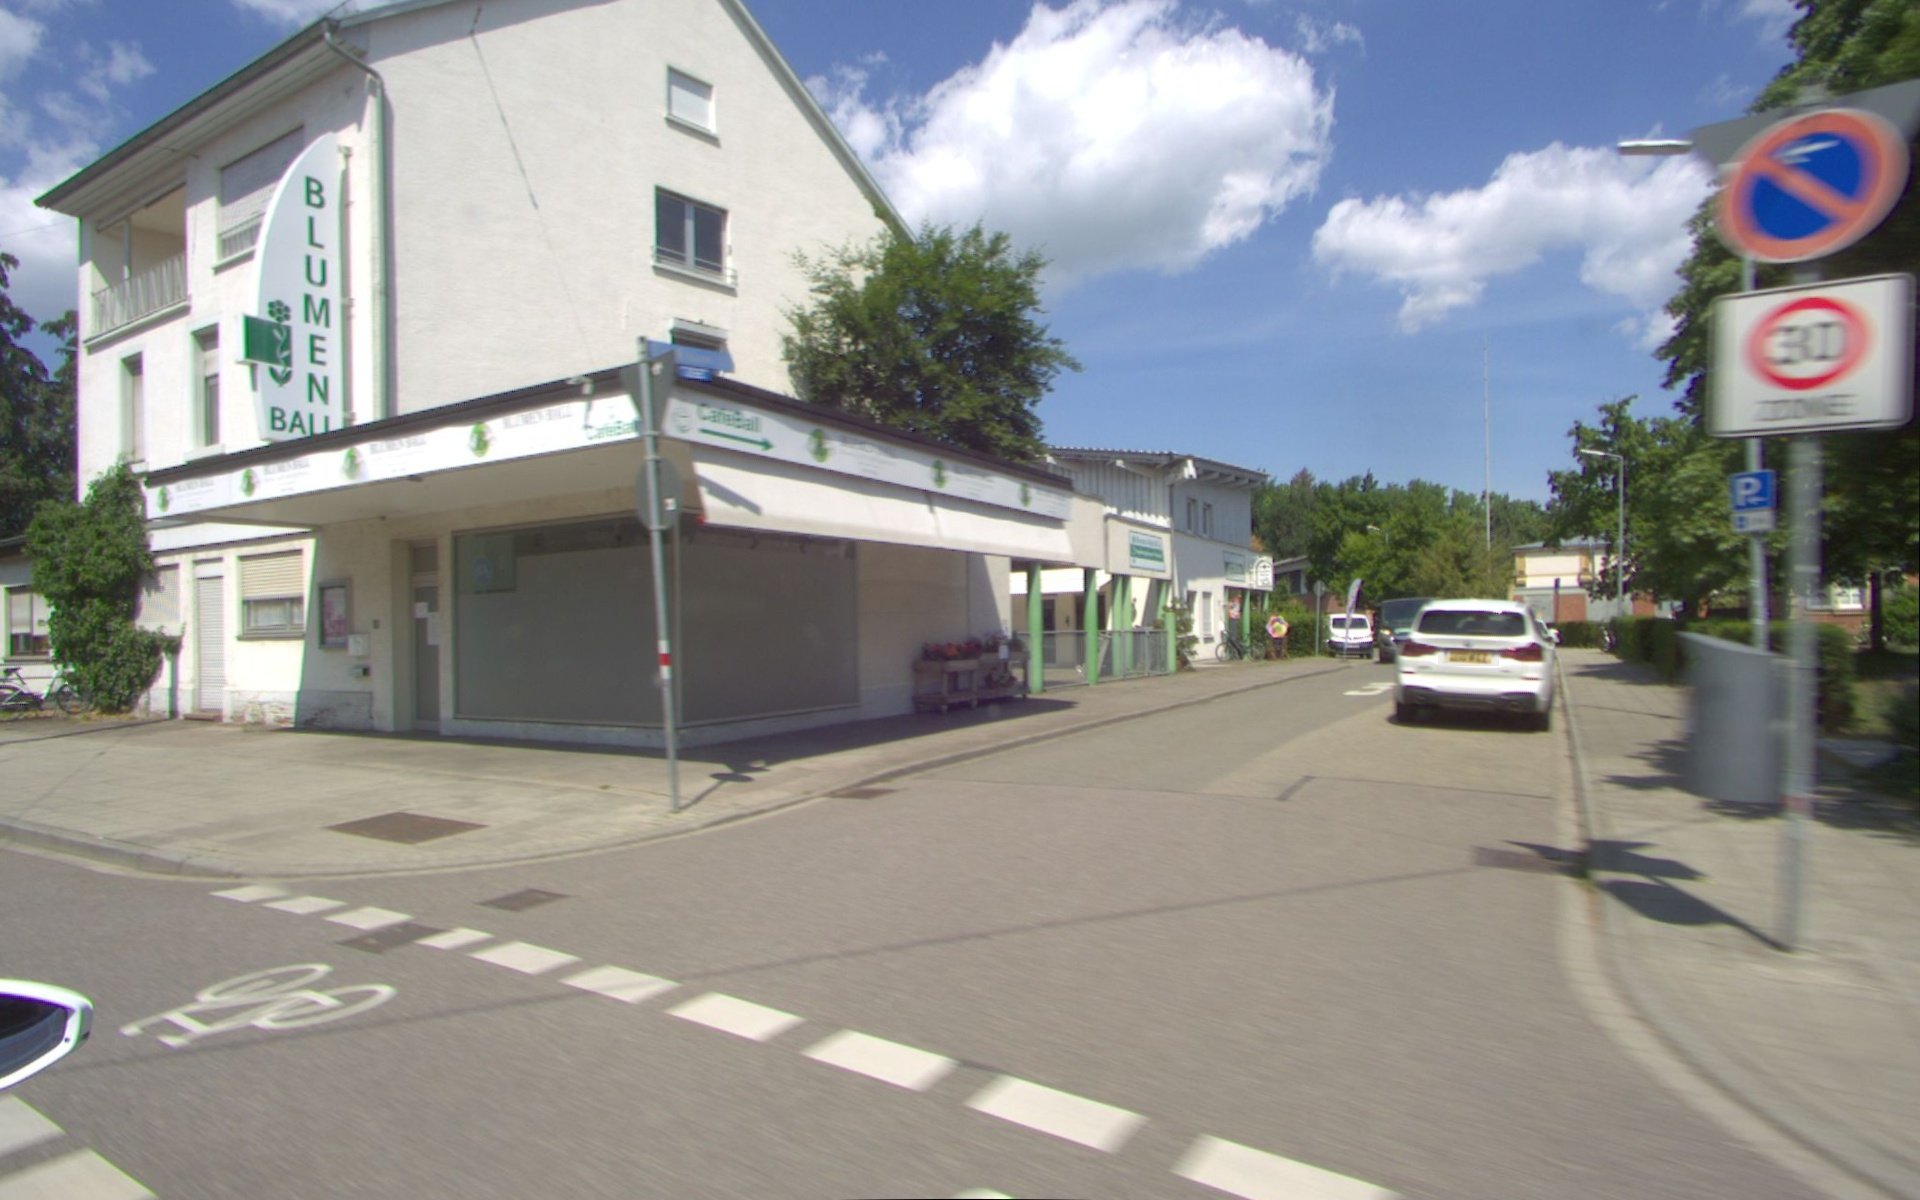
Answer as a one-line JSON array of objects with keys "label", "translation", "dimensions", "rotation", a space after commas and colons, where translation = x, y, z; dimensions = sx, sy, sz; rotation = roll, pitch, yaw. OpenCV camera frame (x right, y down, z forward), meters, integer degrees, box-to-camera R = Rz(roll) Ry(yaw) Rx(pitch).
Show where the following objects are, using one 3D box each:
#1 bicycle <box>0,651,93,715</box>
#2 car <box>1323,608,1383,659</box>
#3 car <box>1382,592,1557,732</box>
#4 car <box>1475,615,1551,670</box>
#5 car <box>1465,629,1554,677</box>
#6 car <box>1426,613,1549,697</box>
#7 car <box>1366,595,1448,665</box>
[{"label": "bicycle", "translation": [-17.396, 1.554, 18.861], "dimensions": [0.424, 1.100, 1.527], "rotation": [-2, 0, 37]}, {"label": "car", "translation": [16.443, 1.382, 41.811], "dimensions": [1.748, 2.010, 4.162], "rotation": [-2, -2, 29]}, {"label": "car", "translation": [7.406, 0.768, 14.329], "dimensions": [1.915, 1.677, 4.395], "rotation": [0, 0, 31]}, {"label": "car", "translation": [16.510, 1.208, 29.840], "dimensions": [1.837, 1.491, 3.671], "rotation": [0, 0, 31]}, {"label": "car", "translation": [14.009, 1.305, 25.445], "dimensions": [1.837, 1.057, 3.671], "rotation": [0, -1, 31]}, {"label": "car", "translation": [10.579, 0.995, 19.931], "dimensions": [1.915, 1.469, 4.395], "rotation": [0, -1, 31]}, {"label": "car", "translation": [15.434, 1.027, 34.430], "dimensions": [2.164, 2.208, 4.512], "rotation": [-2, -2, 29]}]
